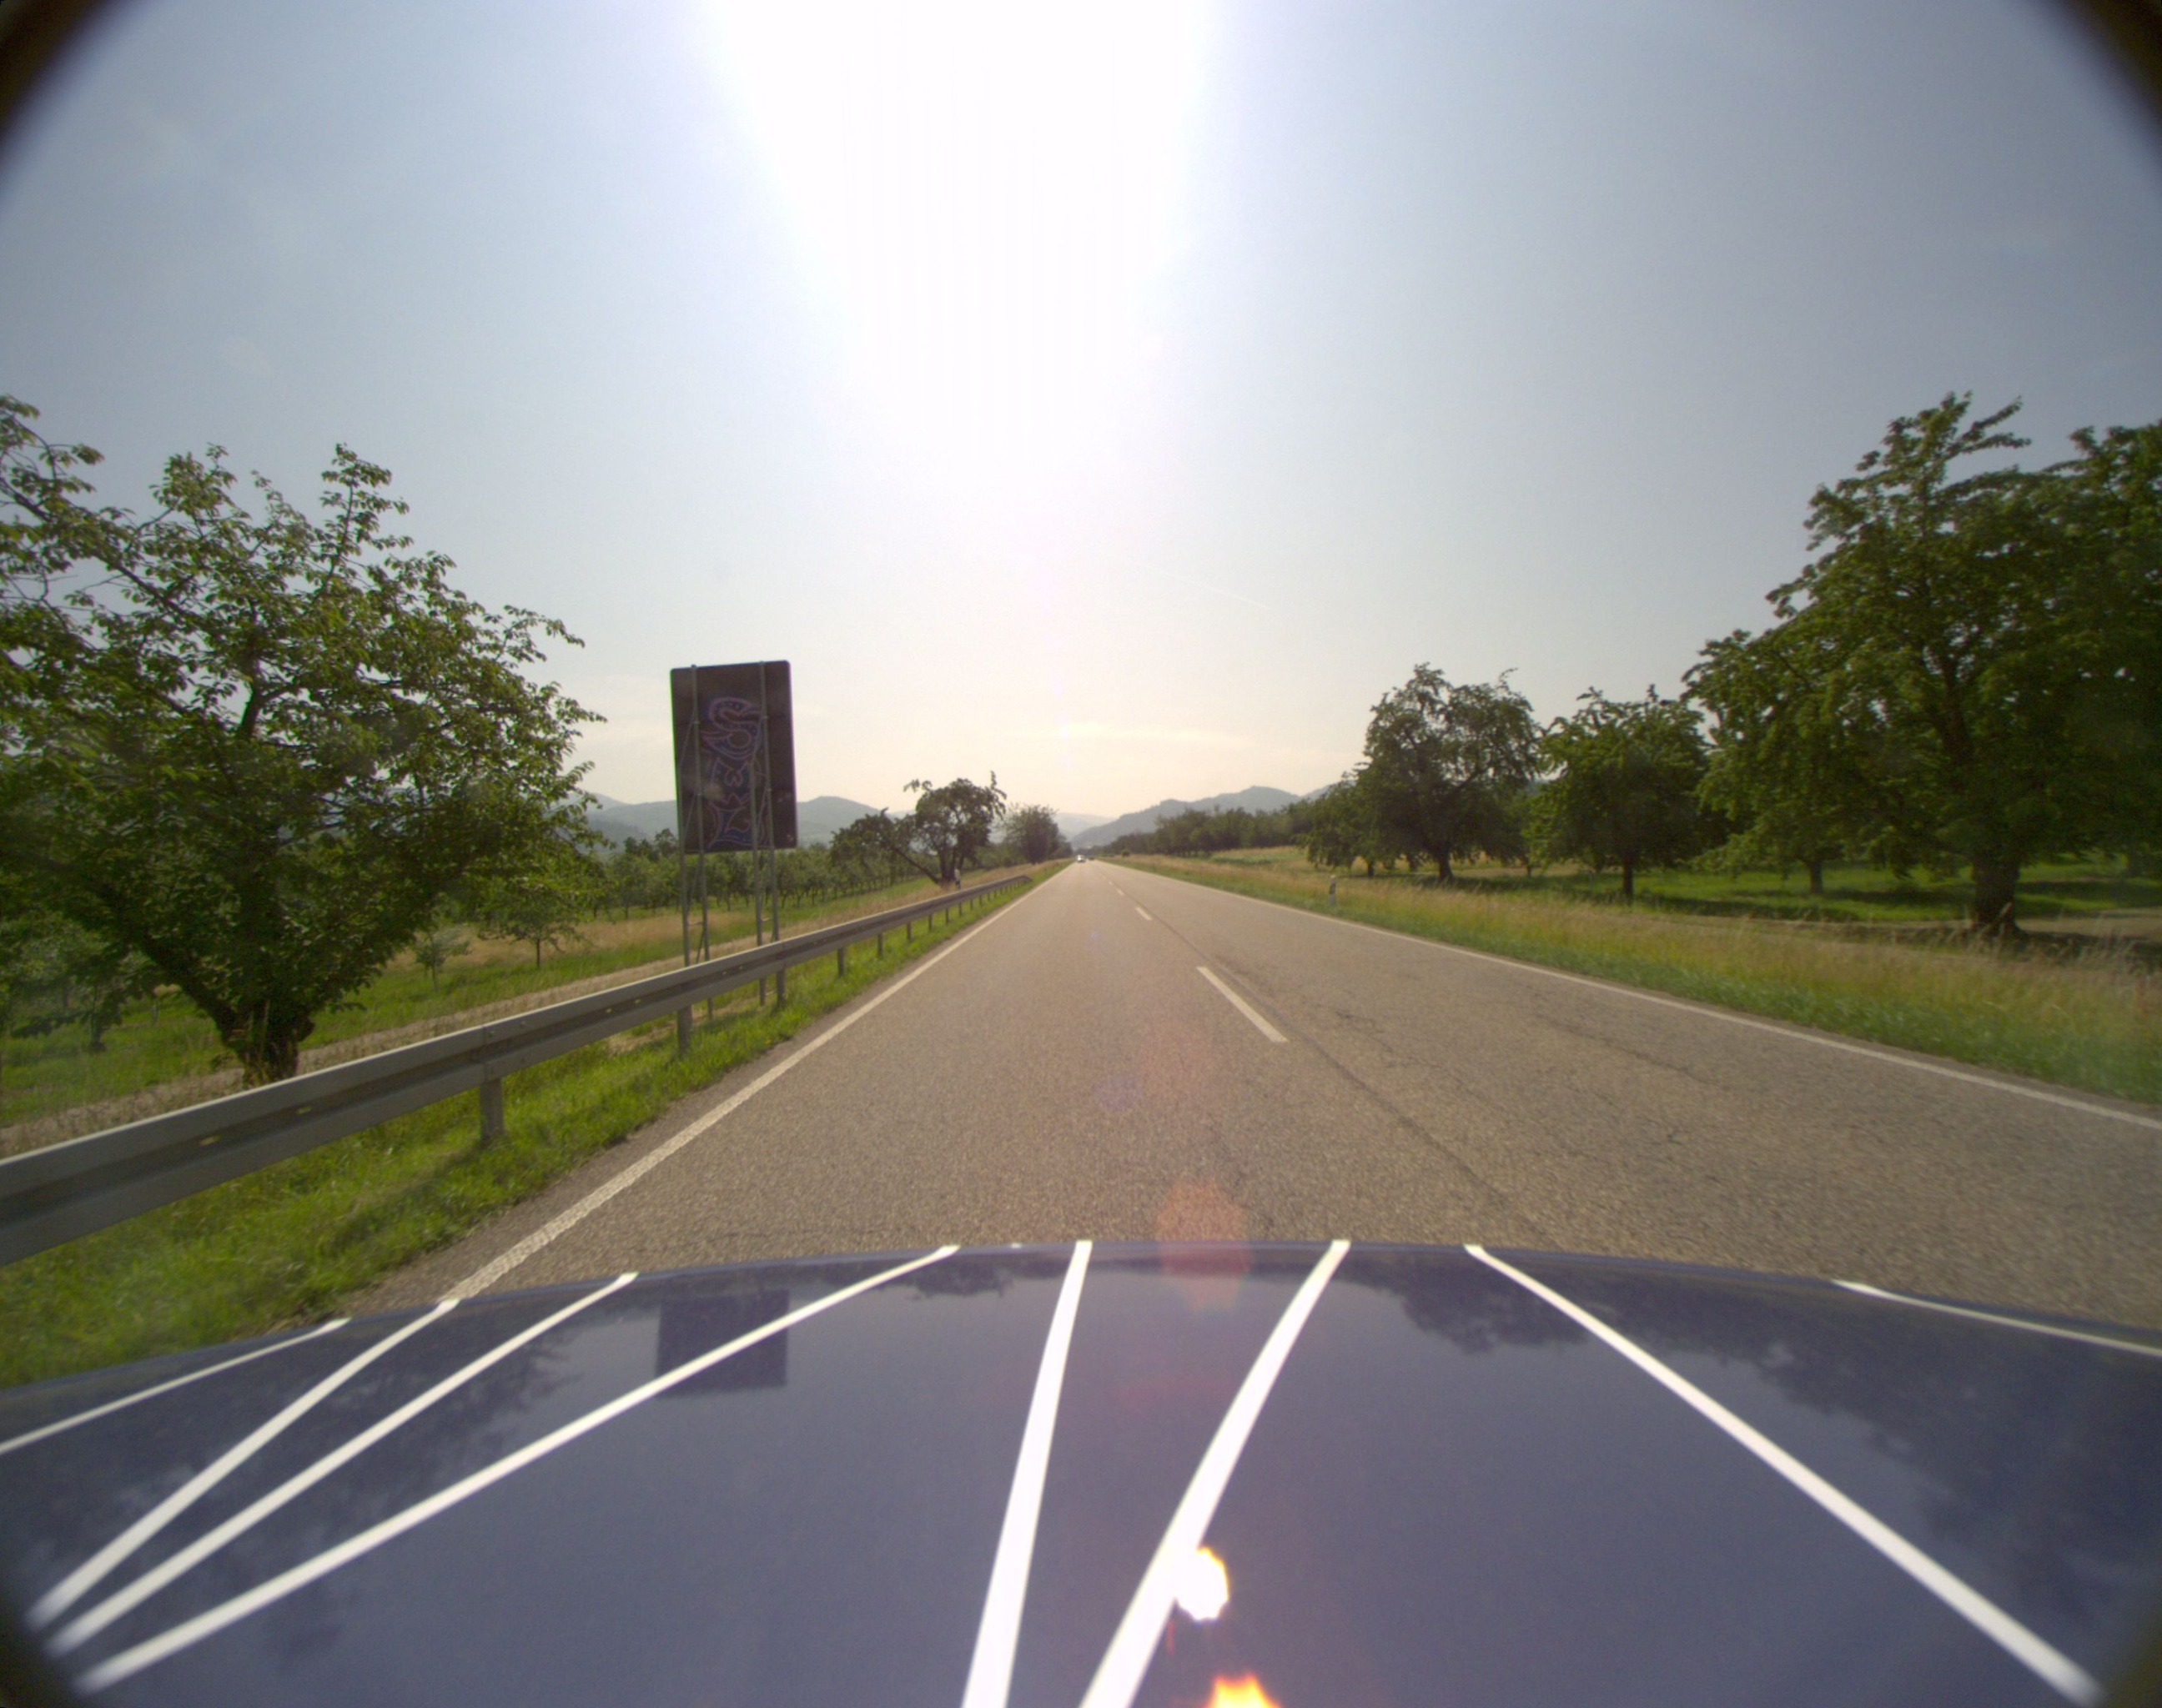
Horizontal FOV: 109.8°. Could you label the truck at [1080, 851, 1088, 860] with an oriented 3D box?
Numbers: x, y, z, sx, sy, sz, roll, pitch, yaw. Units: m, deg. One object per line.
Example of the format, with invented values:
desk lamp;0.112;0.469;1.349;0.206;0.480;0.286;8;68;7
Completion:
truck;0.864;0.316;200.333;2.031;2.232;4.765;-2;1;2
